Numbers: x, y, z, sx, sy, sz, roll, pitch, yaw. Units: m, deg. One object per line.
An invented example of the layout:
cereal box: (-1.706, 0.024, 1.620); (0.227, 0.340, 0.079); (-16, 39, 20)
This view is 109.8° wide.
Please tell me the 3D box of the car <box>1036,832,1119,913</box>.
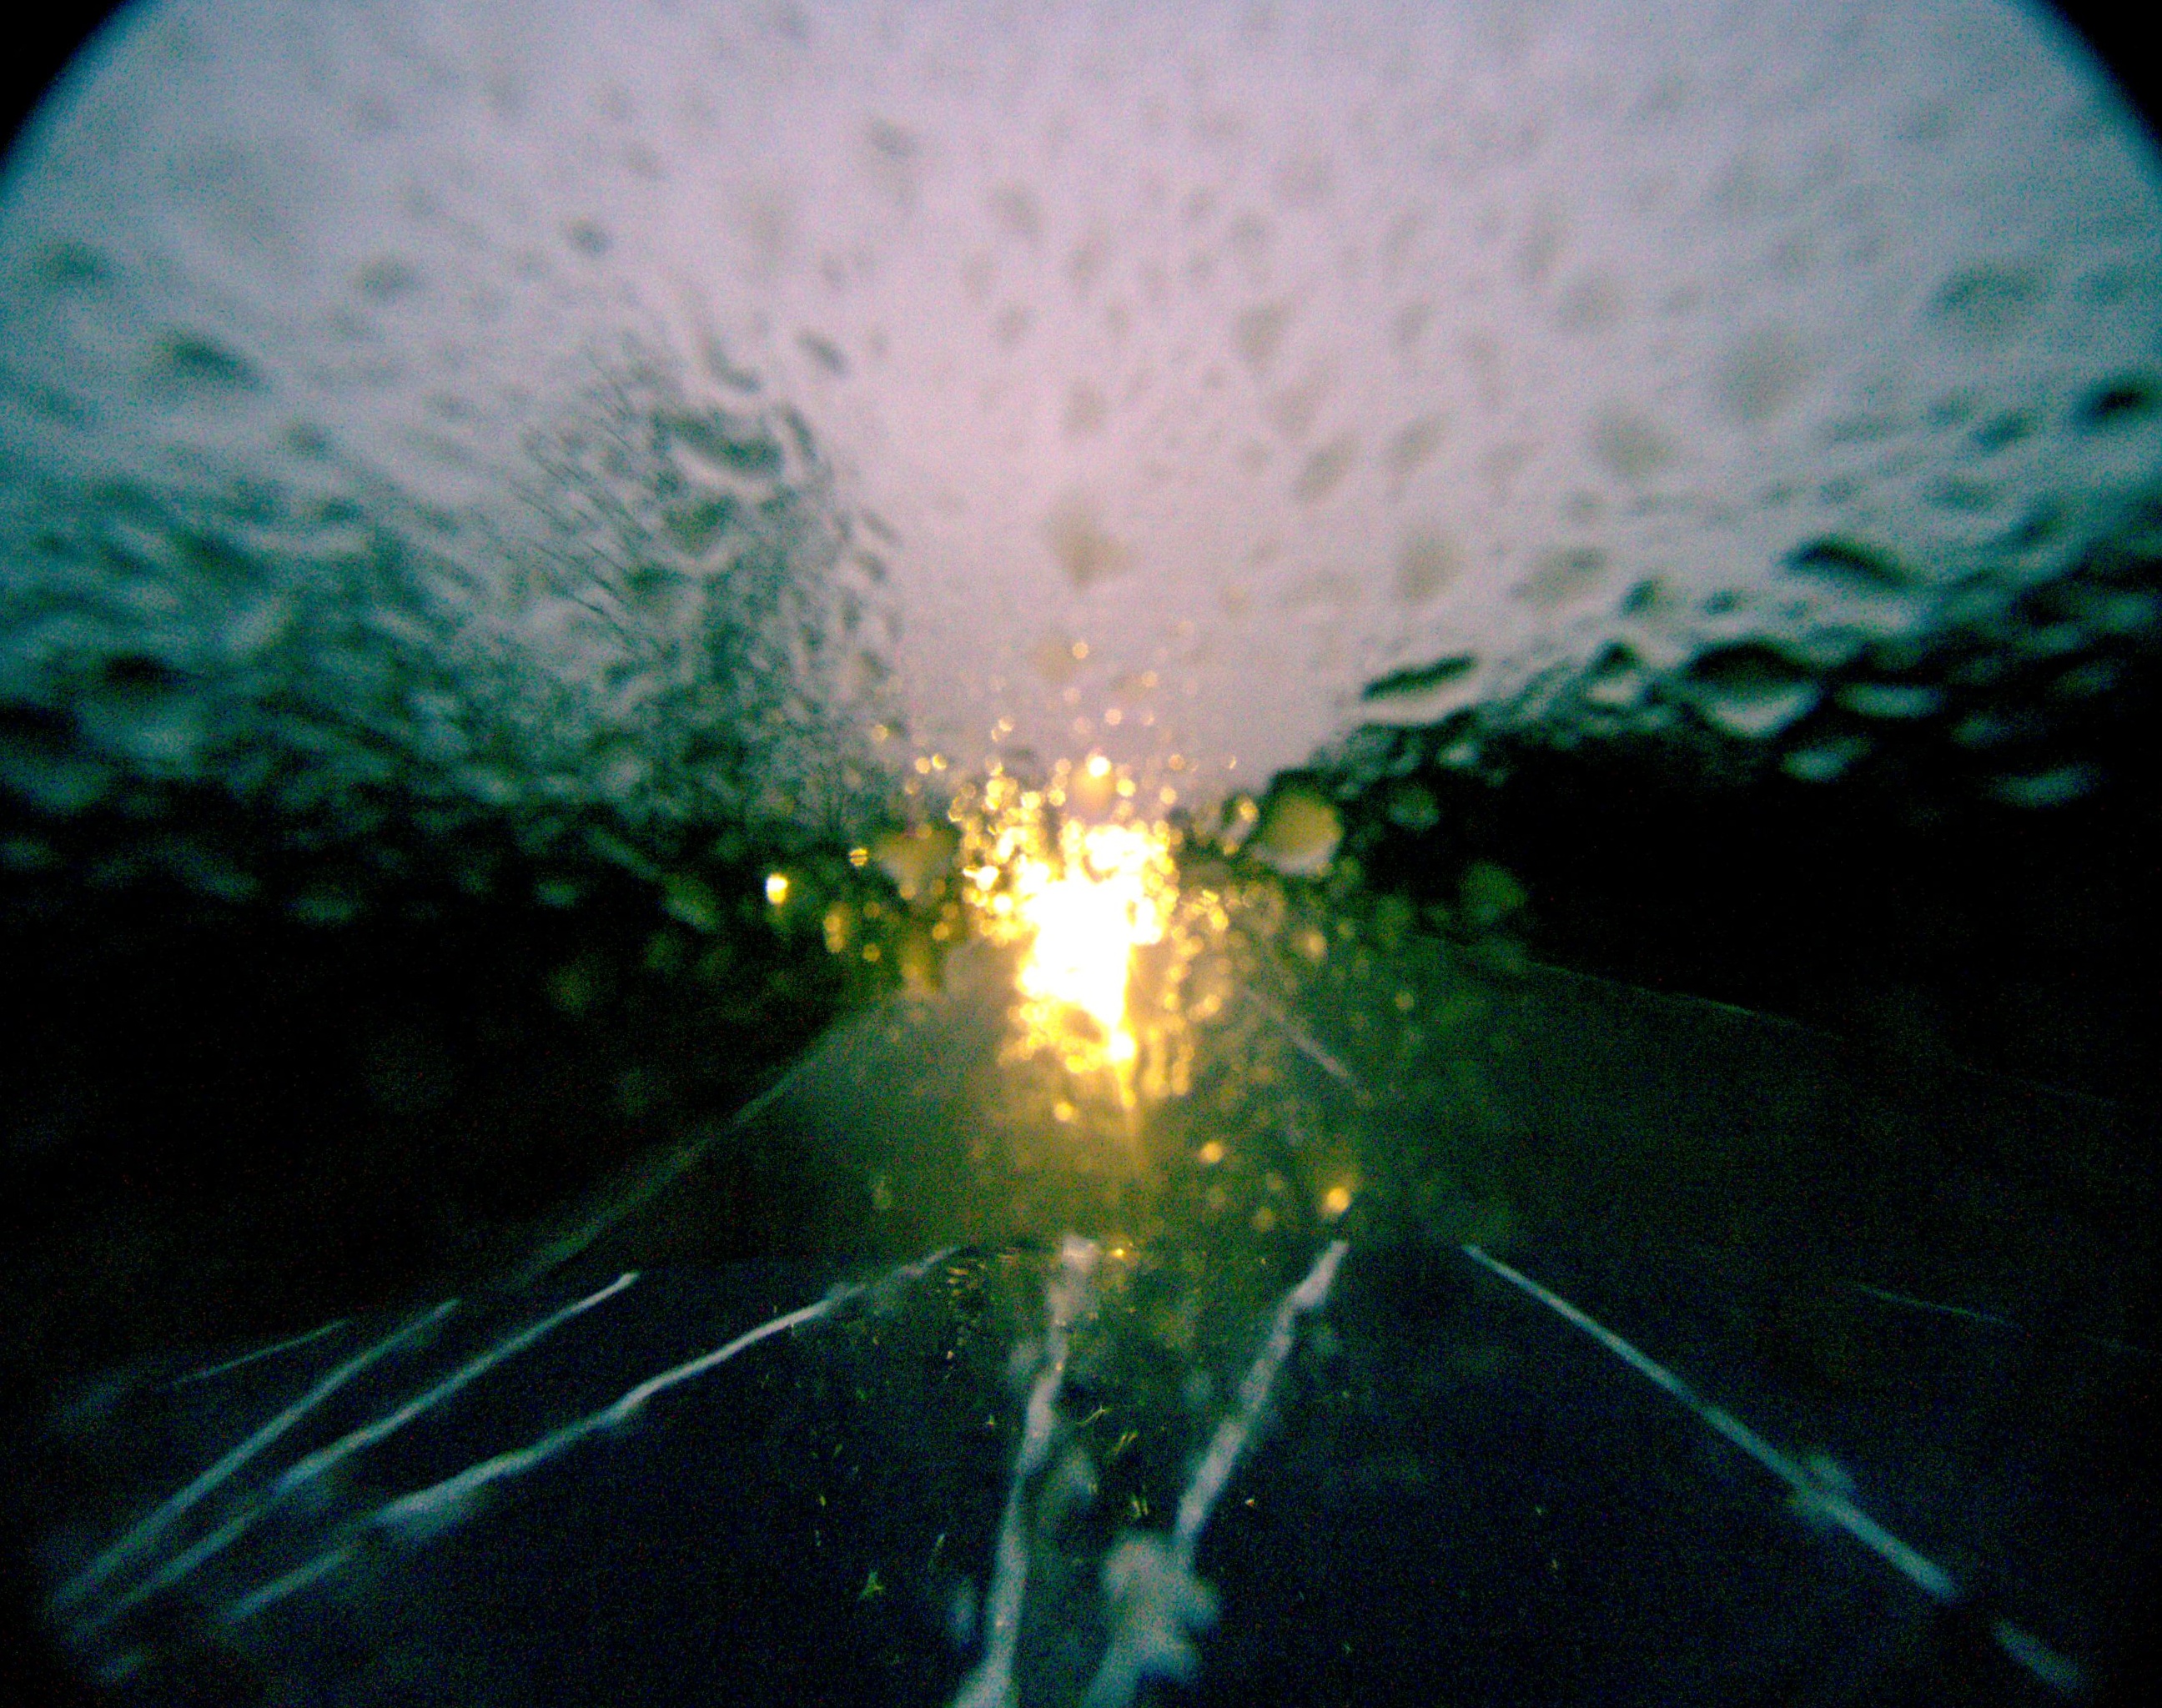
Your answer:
car: (0.008, 0.508, 23.535); (1.952, 2.195, 4.537); (-2, 0, 7)
